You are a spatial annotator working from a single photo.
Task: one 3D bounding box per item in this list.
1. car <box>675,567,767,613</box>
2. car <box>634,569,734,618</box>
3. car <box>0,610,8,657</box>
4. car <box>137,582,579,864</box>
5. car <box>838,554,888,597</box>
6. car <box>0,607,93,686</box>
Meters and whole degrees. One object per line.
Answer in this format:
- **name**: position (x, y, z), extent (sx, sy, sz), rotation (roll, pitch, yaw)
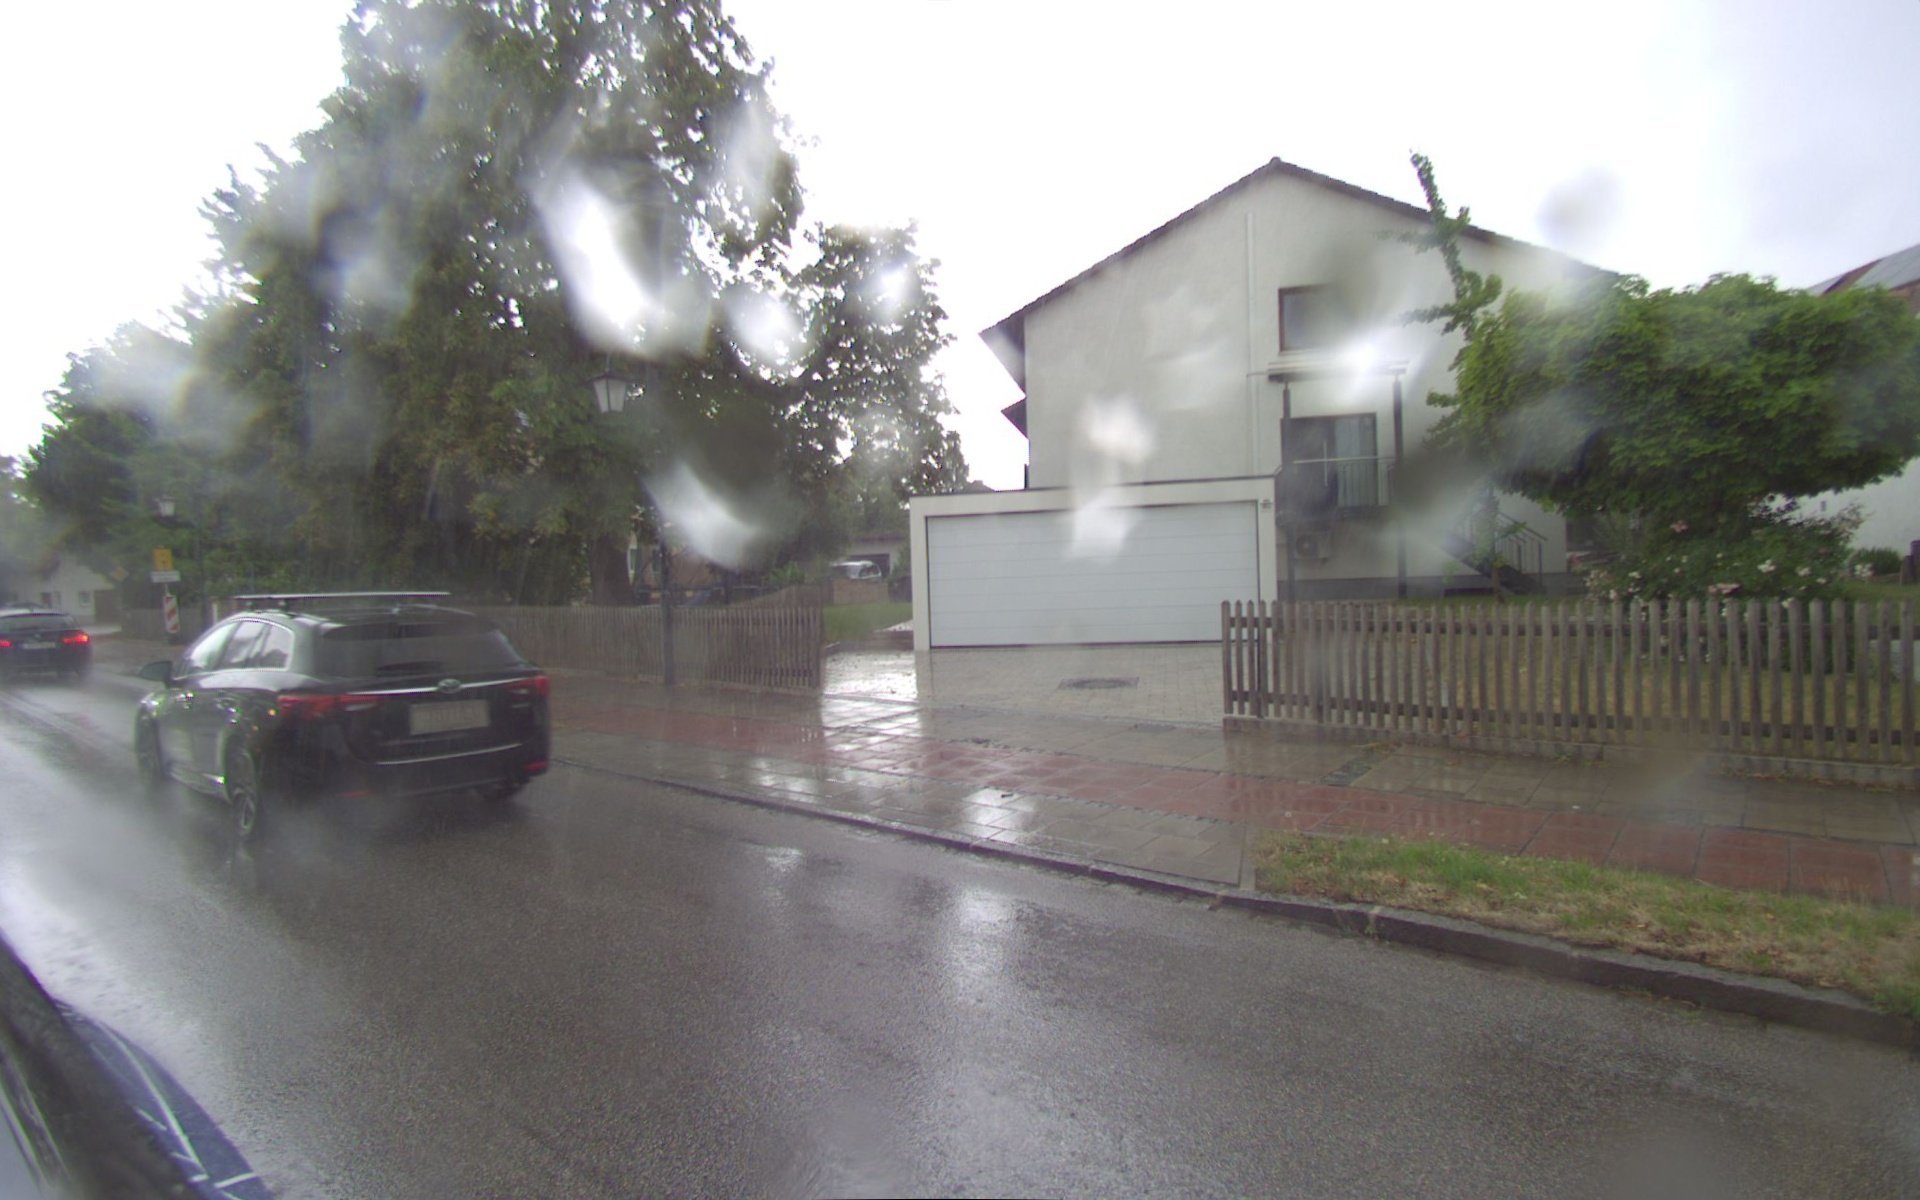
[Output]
- **car**: position (-10.851, -0.463, 46.079), extent (3.613, 1.815, 1.839), rotation (-3, 2, 7)
- **car**: position (-11.760, -0.291, 43.261), extent (3.613, 1.815, 1.839), rotation (-3, 2, 7)
- **car**: position (-32.220, 1.100, 32.724), extent (3.998, 1.476, 1.691), rotation (-1, 1, 41)
- **car**: position (-4.638, 0.714, 7.517), extent (4.186, 1.532, 1.621), rotation (-2, -1, 41)
- **car**: position (-5.425, -1.333, 56.947), extent (1.767, 2.311, 3.838), rotation (-1, 0, 11)
- **car**: position (-19.838, 0.929, 21.265), extent (4.371, 1.476, 1.762), rotation (-1, 1, 40)
